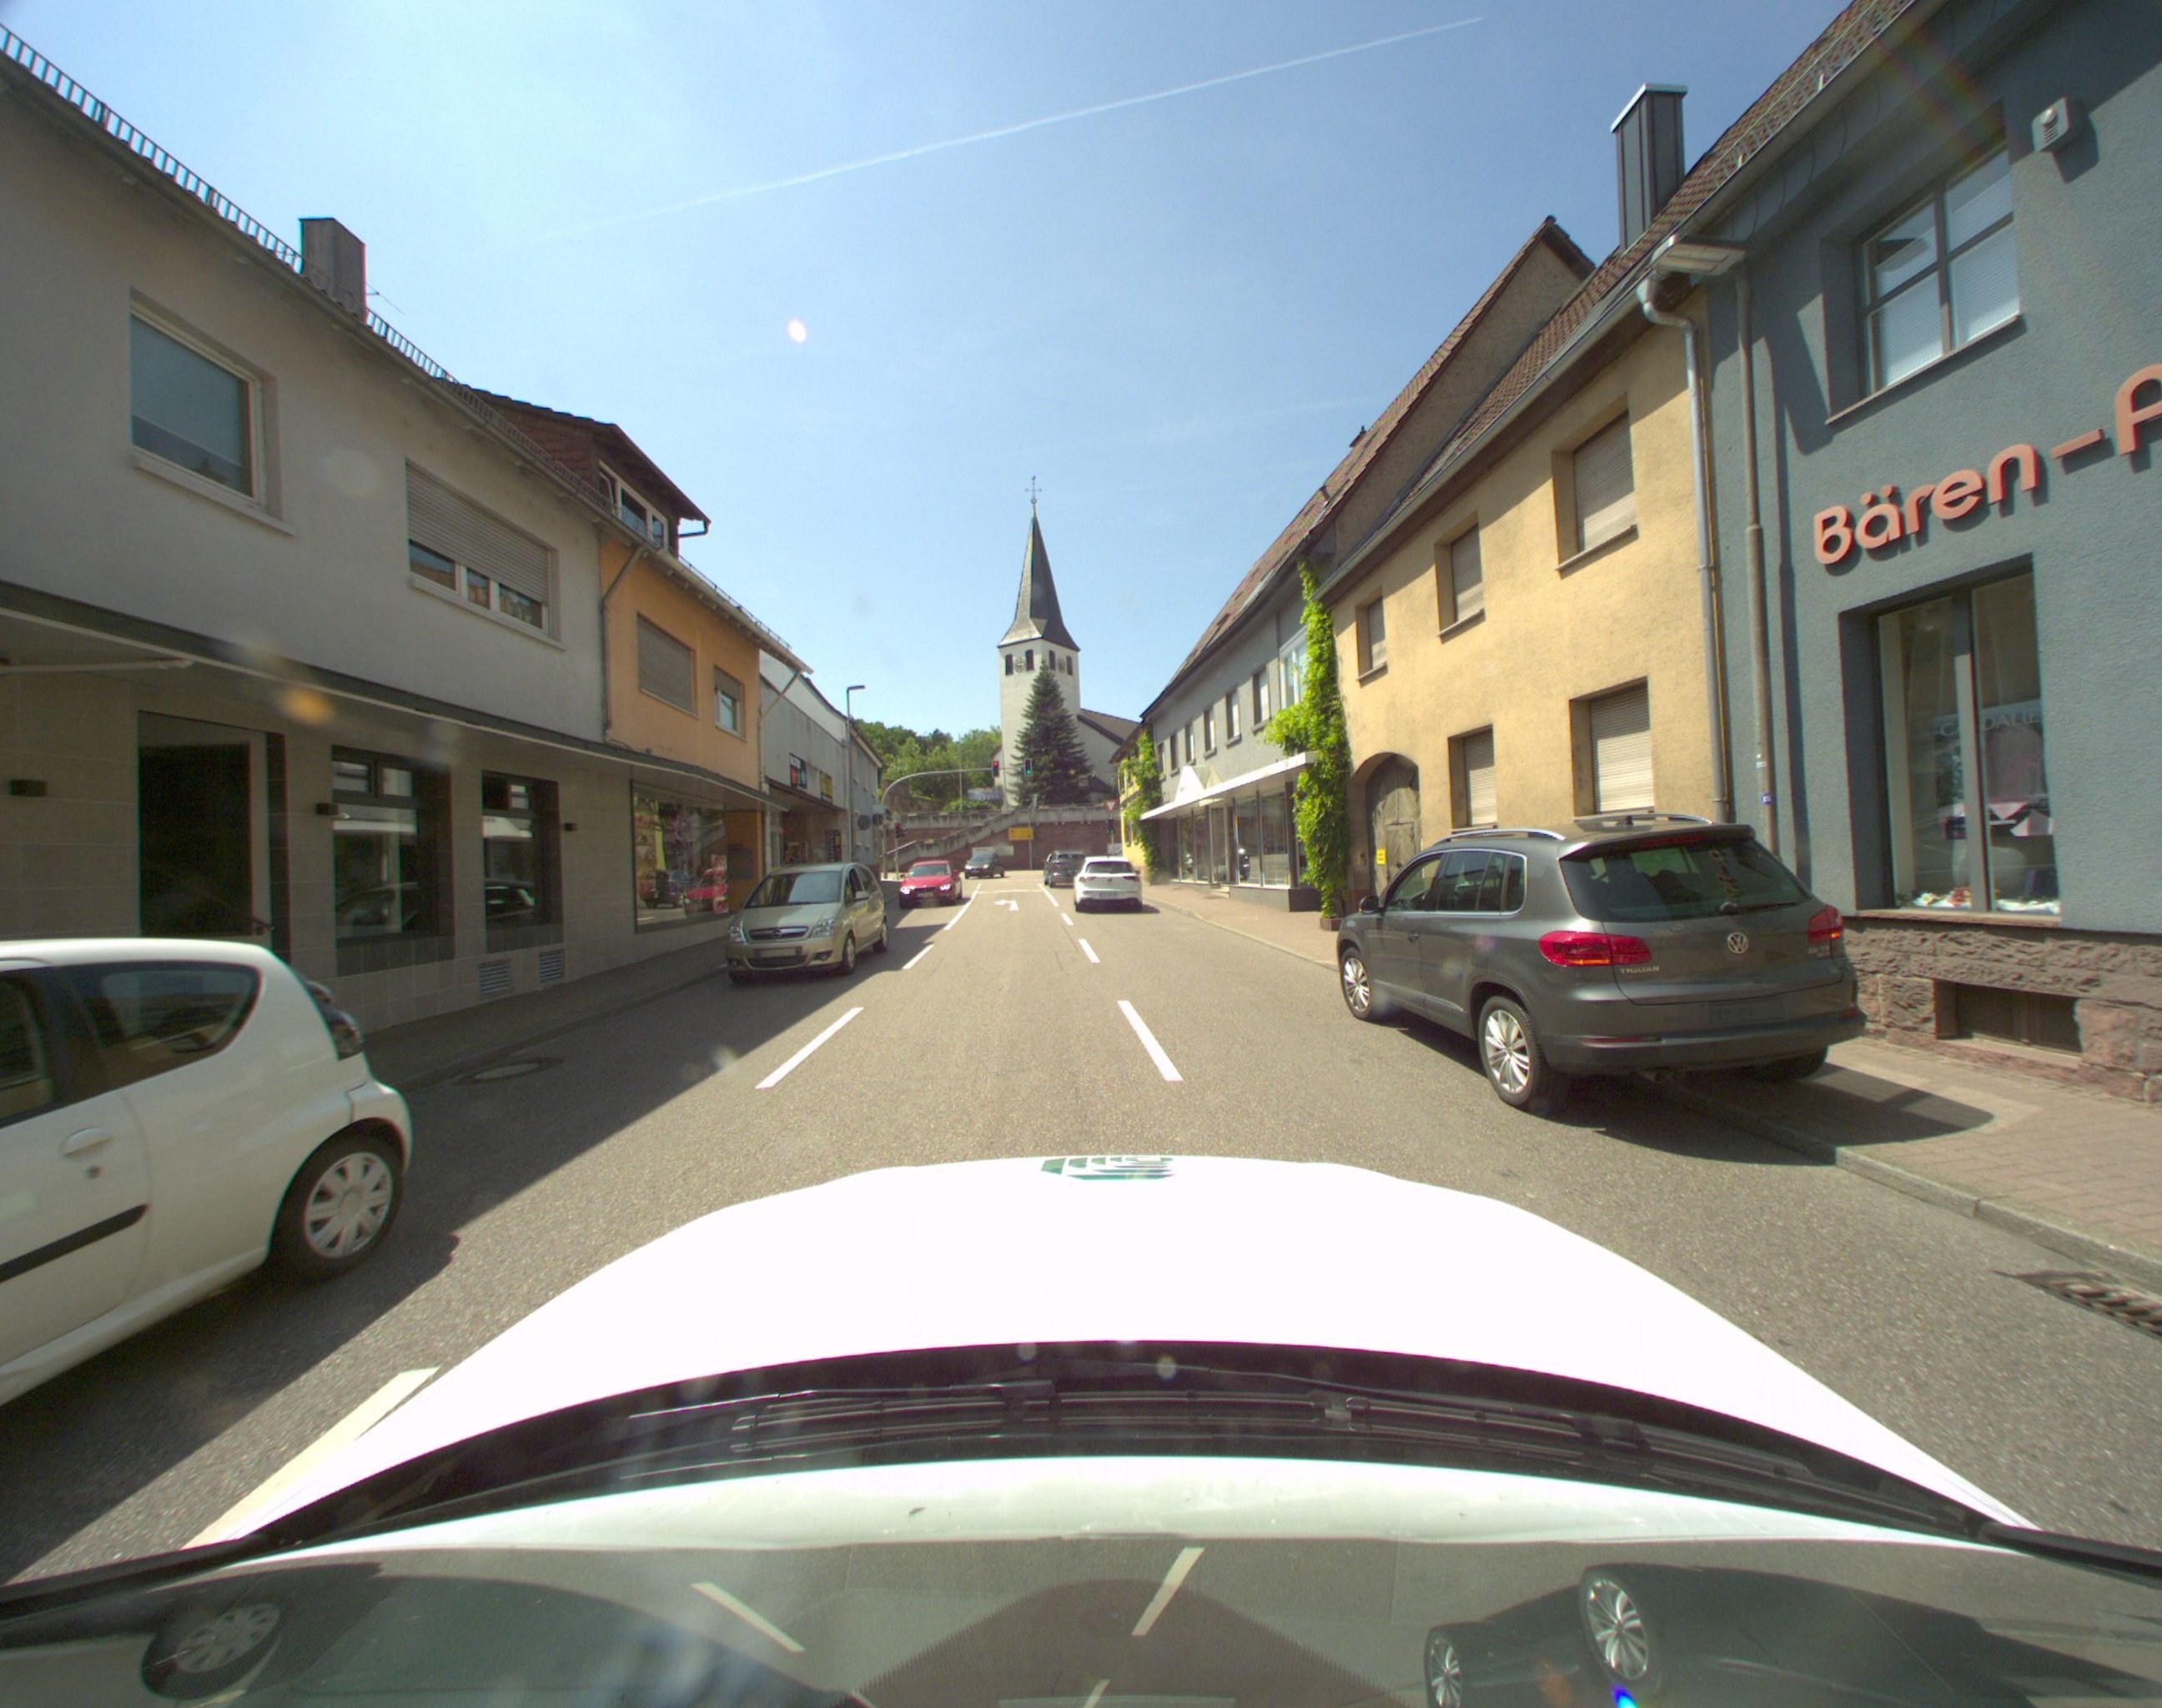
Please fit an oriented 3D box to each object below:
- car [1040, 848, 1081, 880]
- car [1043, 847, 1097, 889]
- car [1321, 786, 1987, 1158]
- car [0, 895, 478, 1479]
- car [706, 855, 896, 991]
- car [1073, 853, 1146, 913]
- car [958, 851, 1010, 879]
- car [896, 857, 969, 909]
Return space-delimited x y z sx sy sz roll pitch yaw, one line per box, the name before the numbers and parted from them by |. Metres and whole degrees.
car | -1.192 0.536 45.654 1.947 1.582 4.317 -2 2 -6
car | -0.560 0.561 36.059 1.947 1.582 4.317 -2 2 -6
car | 3.481 0.588 6.120 1.988 1.708 4.099 -4 0 -1
car | -3.680 0.970 2.144 1.593 1.455 3.444 -4 0 -2
car | -4.115 0.905 12.628 1.675 1.617 3.817 -4 1 -3
car | 0.701 0.736 22.482 1.778 1.458 3.861 -2 0 -1
car | -5.692 0.614 48.279 1.705 1.422 3.835 -3 1 14
car | -4.913 0.913 27.493 1.713 1.408 4.281 -4 1 -2
